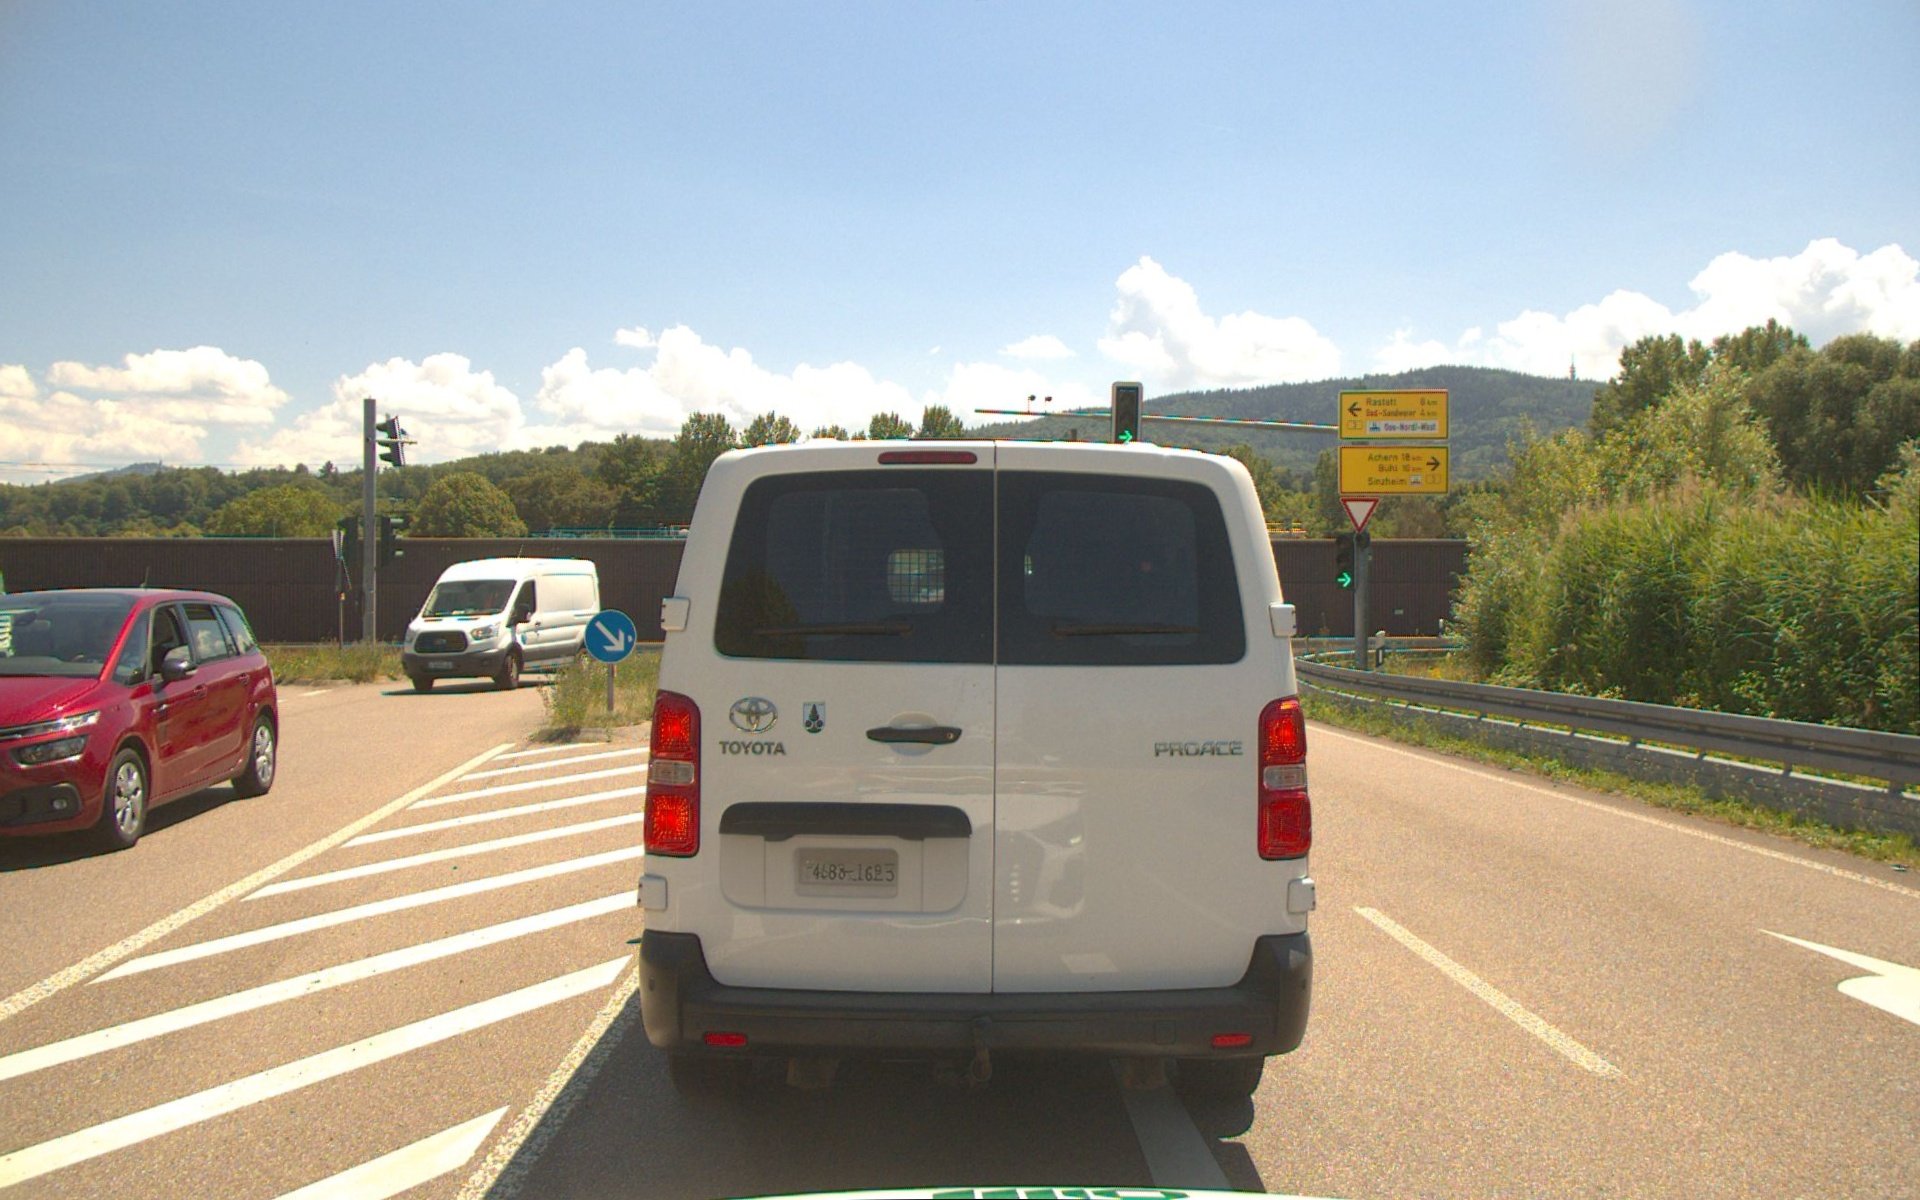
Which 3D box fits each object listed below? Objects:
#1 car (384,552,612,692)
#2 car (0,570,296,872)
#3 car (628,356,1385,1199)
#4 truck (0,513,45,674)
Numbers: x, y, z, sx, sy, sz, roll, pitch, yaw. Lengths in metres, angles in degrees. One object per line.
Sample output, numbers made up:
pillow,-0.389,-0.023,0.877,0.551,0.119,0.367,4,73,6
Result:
car,-8.884,0.382,32.409,1.951,2.458,5.595,-2,0,11
car,-6.114,0.722,11.497,1.703,1.715,4.202,-1,0,-7
car,0.086,0.465,5.901,1.778,2.053,3.999,0,0,-1
truck,-26.865,-0.178,41.858,5.649,4.024,3.061,0,-1,-3
